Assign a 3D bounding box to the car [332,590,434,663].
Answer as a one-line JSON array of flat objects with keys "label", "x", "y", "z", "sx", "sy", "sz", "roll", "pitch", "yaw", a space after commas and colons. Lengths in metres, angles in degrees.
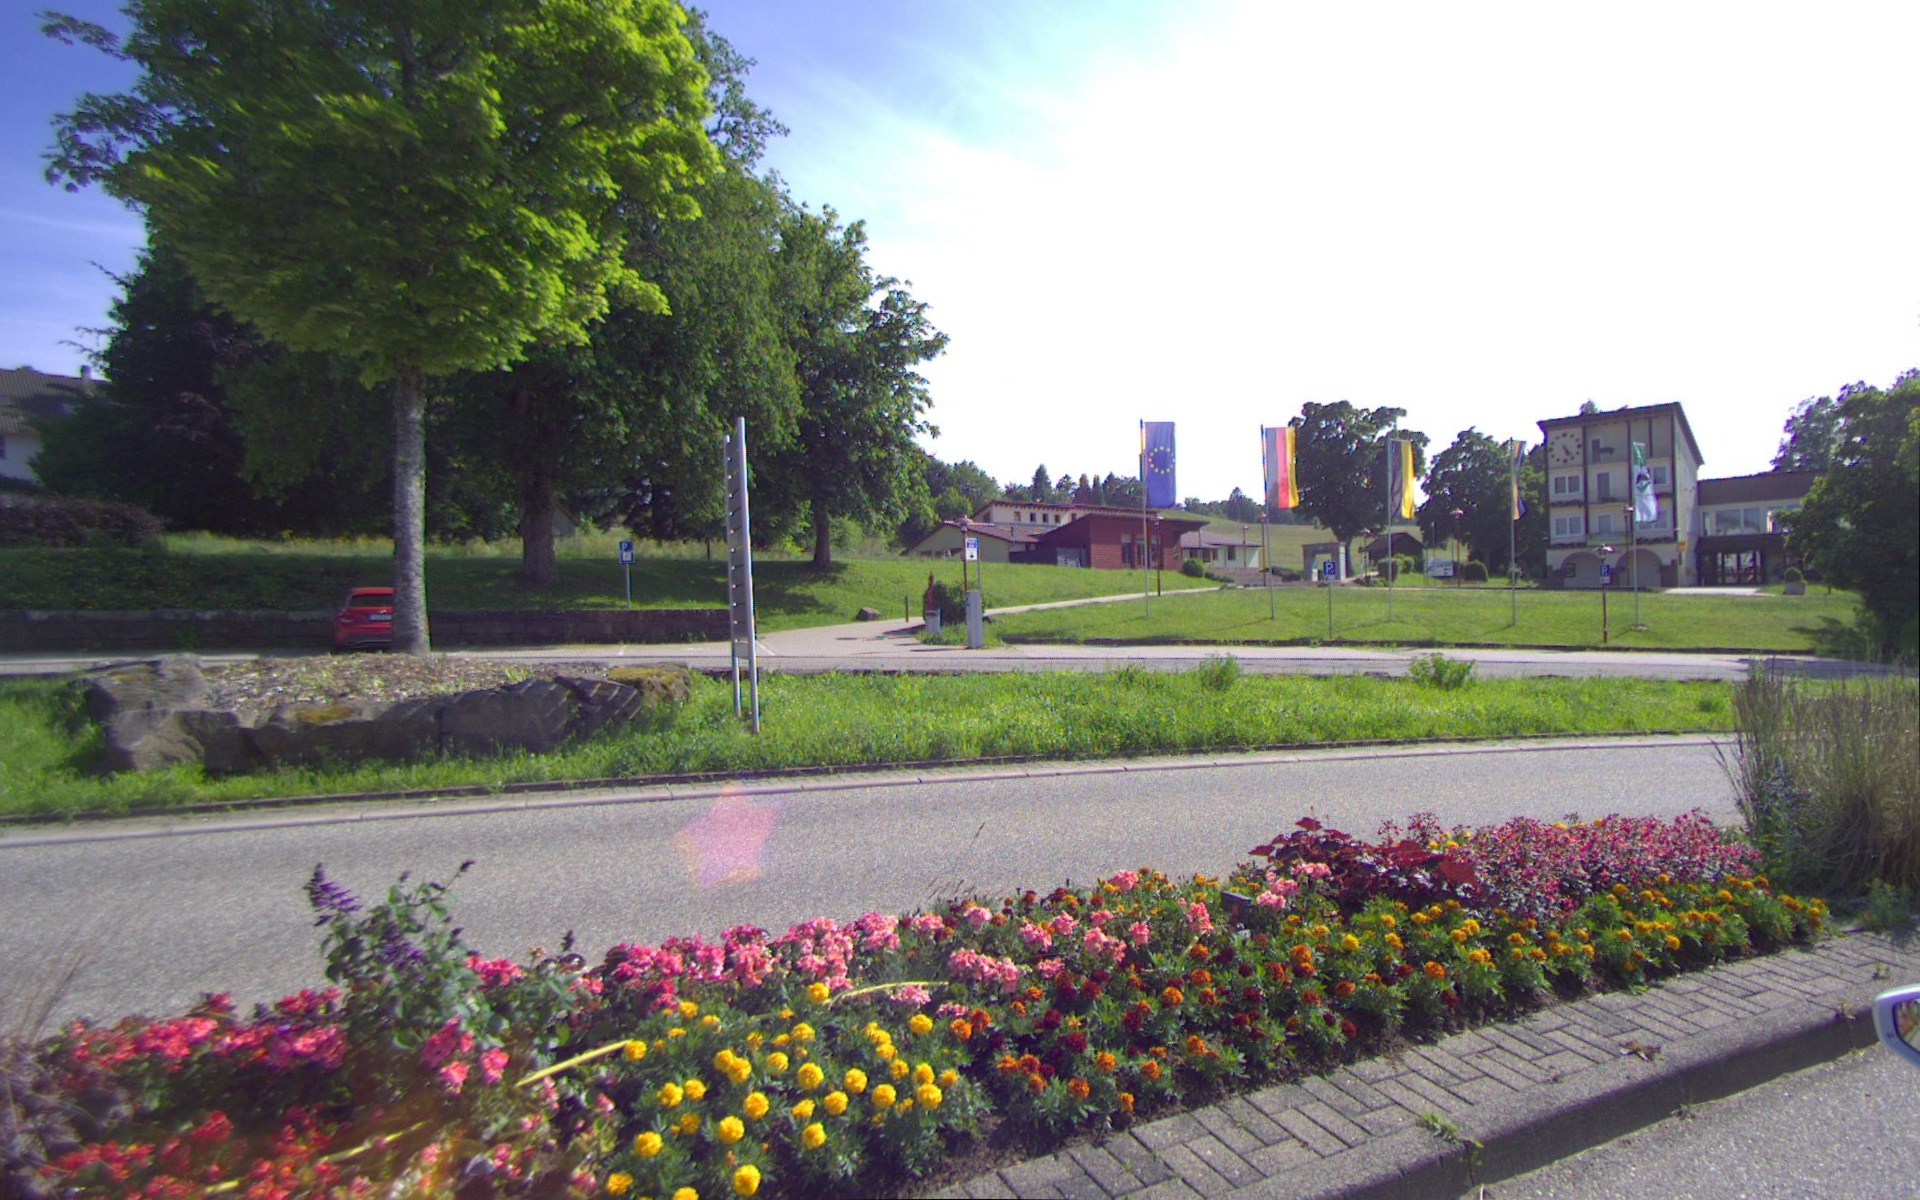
[{"label": "car", "x": -12.904, "y": 0.518, "z": 22.381, "sx": 1.803, "sy": 1.417, "sz": 4.201, "roll": 0, "pitch": 1, "yaw": -32}]
